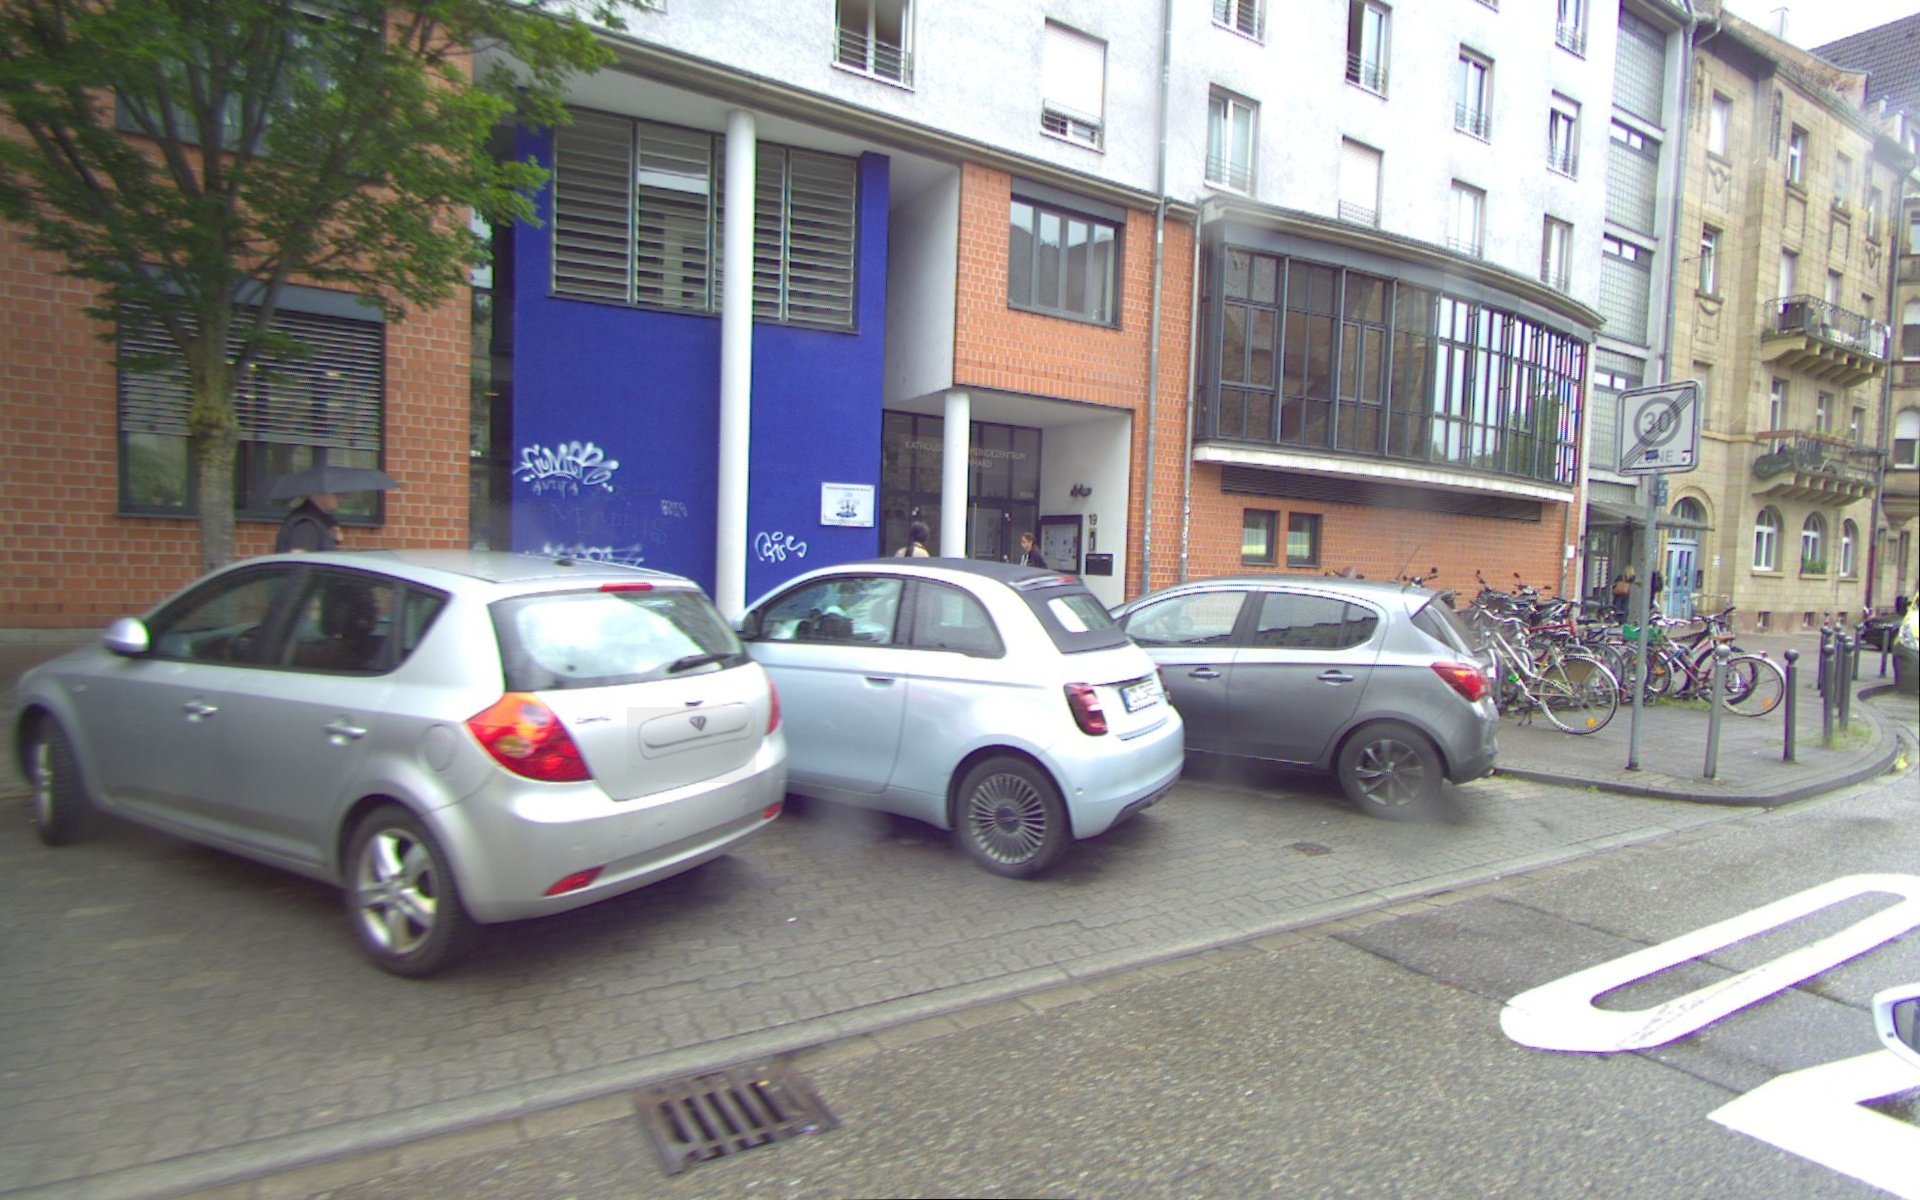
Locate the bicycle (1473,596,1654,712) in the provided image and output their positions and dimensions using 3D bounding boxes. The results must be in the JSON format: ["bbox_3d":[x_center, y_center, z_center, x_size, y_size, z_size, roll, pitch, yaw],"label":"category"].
[{"bbox_3d":[7.205,0.604,12.095,0.560,1.183,1.795,1,4,-26],"label":"bicycle"}]

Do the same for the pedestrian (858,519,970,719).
[{"bbox_3d":[-0.450,0.150,9.472,0.746,1.776,0.822,1,5,-24],"label":"pedestrian"}]

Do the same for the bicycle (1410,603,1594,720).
[{"bbox_3d":[6.072,0.647,11.345,0.502,1.112,1.708,0,4,-38],"label":"bicycle"}]

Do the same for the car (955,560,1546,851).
[{"bbox_3d":[2.107,0.553,7.484,3.761,1.528,1.985,4,3,29],"label":"car"}]

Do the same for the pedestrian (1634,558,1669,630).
[{"bbox_3d":[17.492,-0.166,25.400,0.651,1.781,0.794,2,2,35],"label":"pedestrian"}]

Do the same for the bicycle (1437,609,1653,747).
[{"bbox_3d":[5.660,0.708,9.821,0.501,1.112,1.710,0,4,-35],"label":"bicycle"}]

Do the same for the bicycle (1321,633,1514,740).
[{"bbox_3d":[4.399,0.796,9.788,0.500,0.780,1.714,0,4,-29],"label":"bicycle"}]

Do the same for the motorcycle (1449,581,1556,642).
[{"bbox_3d":[11.686,0.251,21.640,2.083,1.190,0.752,2,4,-19],"label":"motorcycle"}]

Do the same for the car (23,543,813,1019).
[{"bbox_3d":[-2.579,0.546,4.781,3.323,1.477,1.679,3,3,26],"label":"car"}]

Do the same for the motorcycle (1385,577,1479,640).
[{"bbox_3d":[9.765,0.173,20.769,2.094,1.190,0.748,0,5,-35],"label":"motorcycle"}]

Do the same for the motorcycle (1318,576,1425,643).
[{"bbox_3d":[8.014,0.181,19.548,2.091,1.190,0.749,1,5,-31],"label":"motorcycle"}]

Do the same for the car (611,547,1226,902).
[{"bbox_3d":[-0.286,0.522,6.125,3.325,1.528,1.678,4,3,29],"label":"car"}]

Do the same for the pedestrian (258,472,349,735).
[{"bbox_3d":[-4.536,0.023,6.962,0.428,1.730,0.608,3,1,-30],"label":"pedestrian"}]

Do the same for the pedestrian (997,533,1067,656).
[{"bbox_3d":[0.952,-0.082,13.359,0.599,1.572,0.707,1,5,-24],"label":"pedestrian"}]

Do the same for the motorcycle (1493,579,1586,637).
[{"bbox_3d":[13.108,0.188,22.725,1.748,1.190,0.572,3,4,-8],"label":"motorcycle"}]

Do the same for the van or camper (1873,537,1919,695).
[{"bbox_3d":[18.664,0.402,17.668,6.799,2.564,2.110,3,-2,-32],"label":"van or camper"}]

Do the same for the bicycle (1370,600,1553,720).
[{"bbox_3d":[5.462,0.614,11.048,0.501,1.112,1.710,0,4,-35],"label":"bicycle"}]

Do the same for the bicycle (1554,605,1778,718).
[{"bbox_3d":[8.513,0.693,12.241,0.587,1.112,2.122,0,4,-30],"label":"bicycle"}]

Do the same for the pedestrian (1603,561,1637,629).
[{"bbox_3d":[16.960,-0.126,25.799,0.651,1.698,0.794,2,2,35],"label":"pedestrian"}]

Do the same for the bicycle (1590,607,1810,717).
[{"bbox_3d":[9.226,0.723,12.638,0.587,1.112,2.106,0,4,-30],"label":"bicycle"}]

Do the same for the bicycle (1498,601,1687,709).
[{"bbox_3d":[7.741,0.631,12.395,0.500,1.112,1.904,0,4,-30],"label":"bicycle"}]

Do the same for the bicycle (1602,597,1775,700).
[{"bbox_3d":[10.141,0.647,14.062,1.778,1.229,0.631,5,3,24],"label":"bicycle"}]

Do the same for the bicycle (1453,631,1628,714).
[{"bbox_3d":[6.733,0.813,11.741,0.500,0.741,1.713,0,4,-30],"label":"bicycle"}]
